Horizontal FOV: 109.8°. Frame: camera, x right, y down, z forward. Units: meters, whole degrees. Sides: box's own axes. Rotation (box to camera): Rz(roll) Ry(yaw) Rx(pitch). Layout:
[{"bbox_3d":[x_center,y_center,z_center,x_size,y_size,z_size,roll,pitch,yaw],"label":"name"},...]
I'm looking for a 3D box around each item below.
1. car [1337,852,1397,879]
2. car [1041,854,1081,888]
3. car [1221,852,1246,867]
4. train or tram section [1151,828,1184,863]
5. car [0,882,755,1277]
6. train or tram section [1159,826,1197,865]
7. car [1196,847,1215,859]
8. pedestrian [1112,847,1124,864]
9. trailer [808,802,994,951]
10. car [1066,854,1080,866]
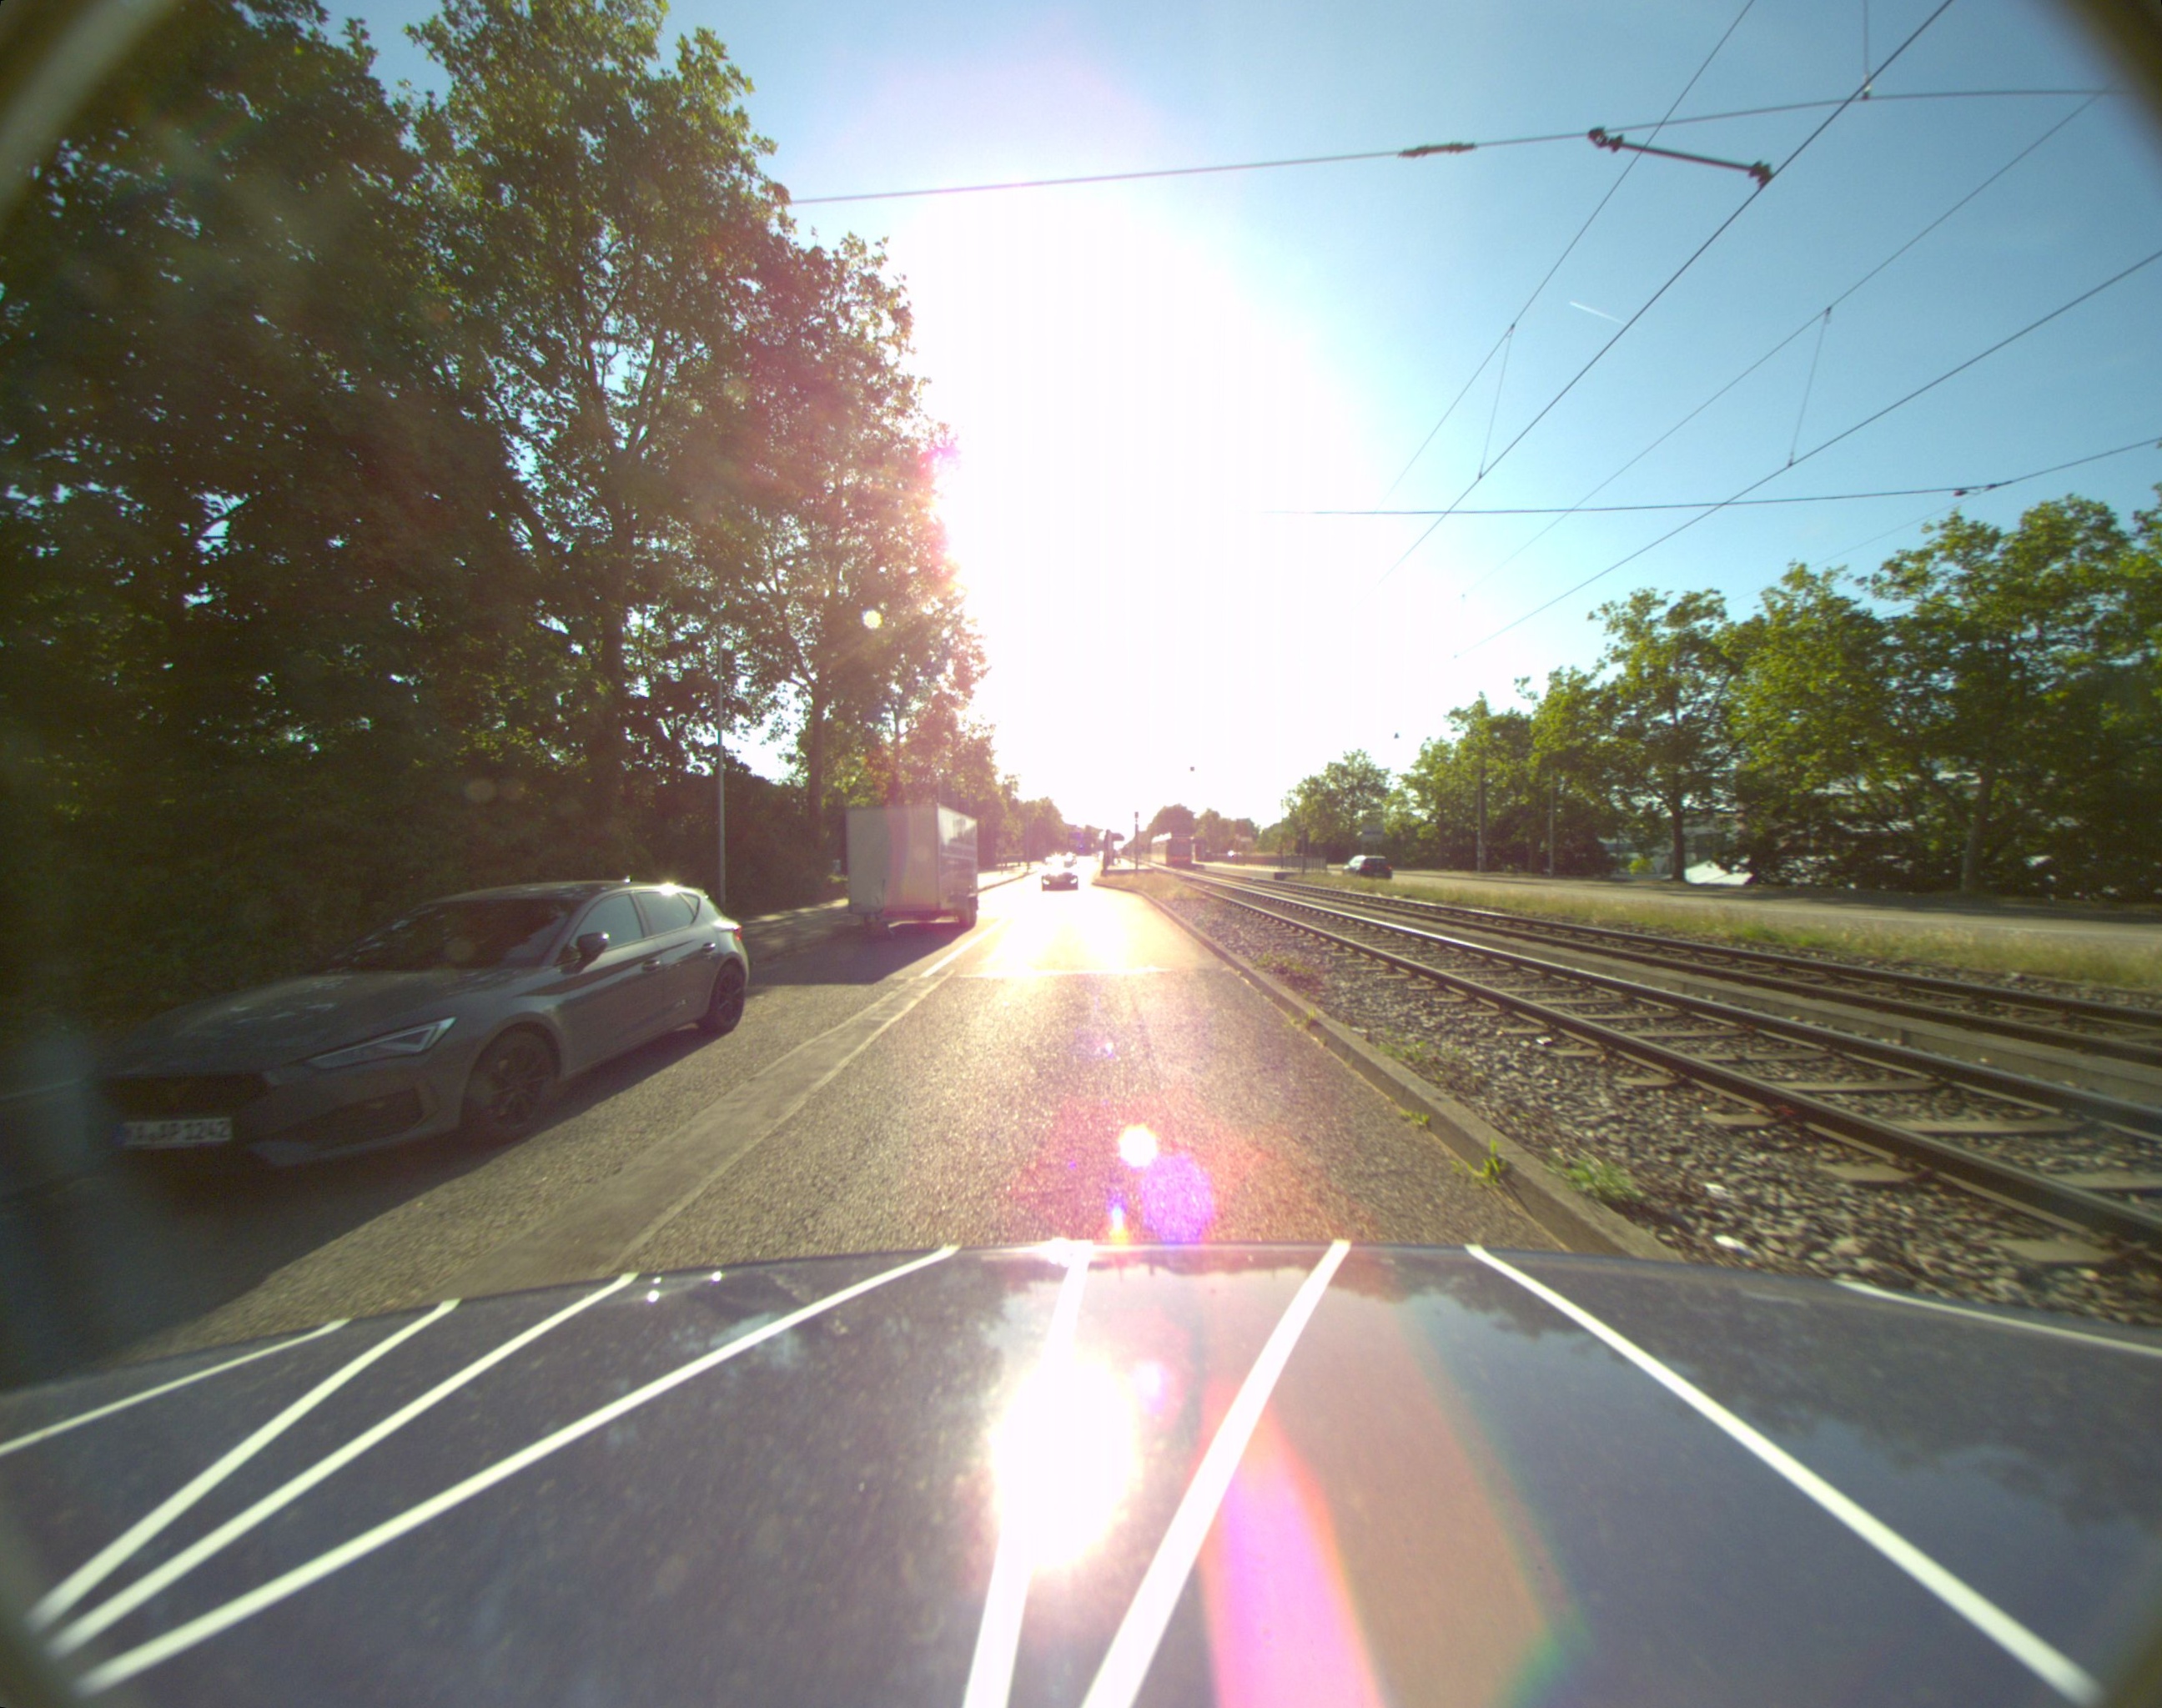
[{"bbox_3d":[15.695,0.612,41.915,1.777,1.416,4.489,0,0,2],"label":"car"},{"bbox_3d":[-0.919,0.779,37.005,1.786,1.530,4.000,0,0,1],"label":"car"},{"bbox_3d":[16.913,0.614,84.636,1.998,1.552,4.543,-1,0,2],"label":"car"},{"bbox_3d":[10.624,-1.065,95.138,2.834,3.982,15.875,-2,1,2],"label":"train or tram section"},{"bbox_3d":[-4.121,1.047,5.316,1.813,1.448,4.165,-2,0,0],"label":"car"},{"bbox_3d":[10.128,-0.903,80.728,2.834,3.665,12.969,-2,1,2],"label":"train or tram section"},{"bbox_3d":[17.650,-0.158,107.790,1.998,1.552,4.335,-1,0,2],"label":"car"},{"bbox_3d":[3.240,0.164,67.174,0.760,1.485,0.696,-1,1,35],"label":"pedestrian"},{"bbox_3d":[-3.629,0.400,16.822,2.256,2.679,5.948,-1,0,4],"label":"trailer"},{"bbox_3d":[-1.076,0.748,103.487,1.784,1.586,4.000,-1,0,1],"label":"car"}]
